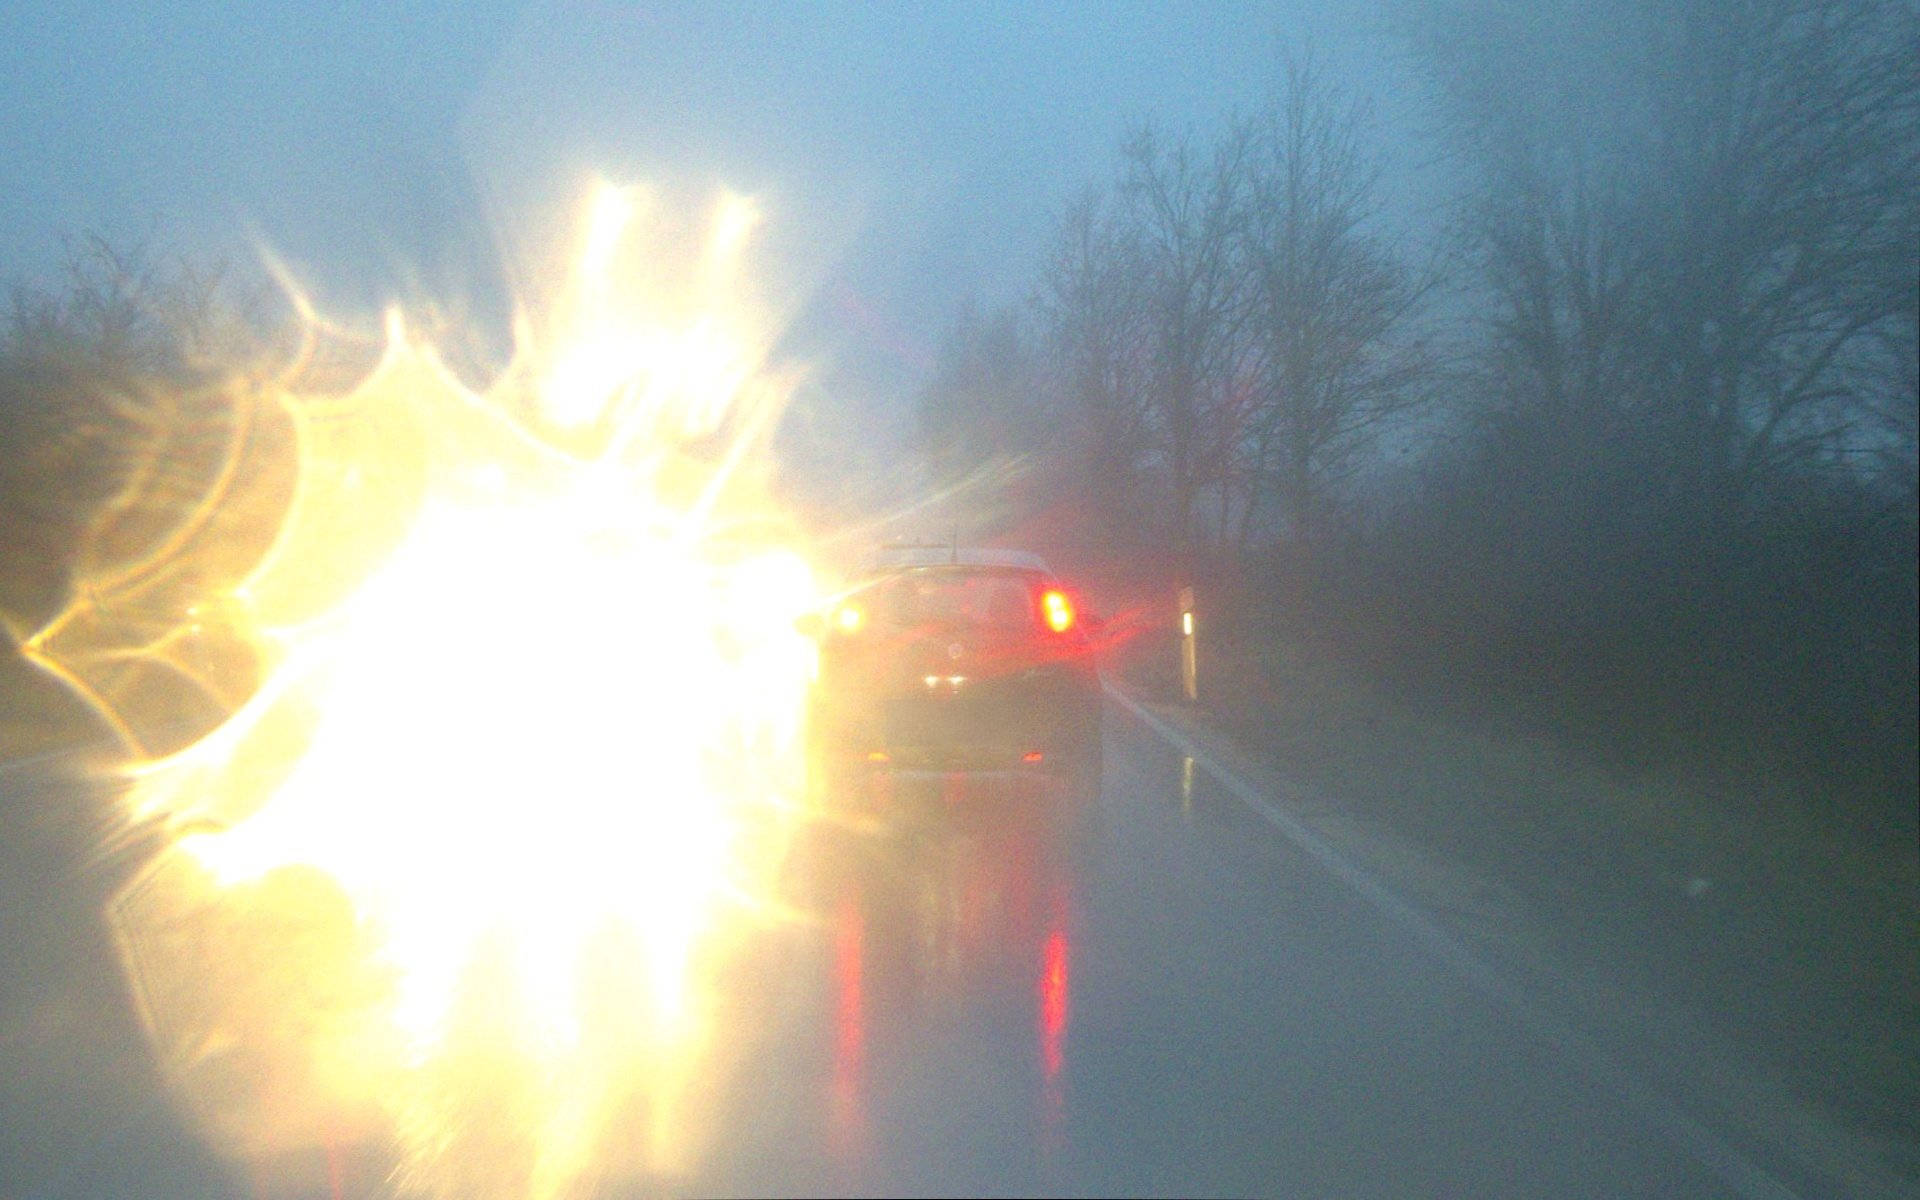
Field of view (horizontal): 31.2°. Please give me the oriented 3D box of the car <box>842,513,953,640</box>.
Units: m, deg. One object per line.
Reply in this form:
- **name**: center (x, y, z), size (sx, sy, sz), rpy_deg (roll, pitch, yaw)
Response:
- **car**: center (-0.939, -0.390, 53.244), size (1.574, 1.868, 3.709), rpy_deg (1, 1, 1)

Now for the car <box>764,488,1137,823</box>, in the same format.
- **car**: center (-0.031, 0.265, 20.667), size (1.993, 1.778, 4.000), rpy_deg (1, 1, 1)

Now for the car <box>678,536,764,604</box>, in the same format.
- **car**: center (-5.437, -0.709, 78.565), size (1.825, 1.493, 4.096), rpy_deg (0, 1, -2)

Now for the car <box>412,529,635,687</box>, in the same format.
- **car**: center (-4.254, 0.038, 33.998), size (1.751, 1.469, 3.891), rpy_deg (0, 1, -1)
